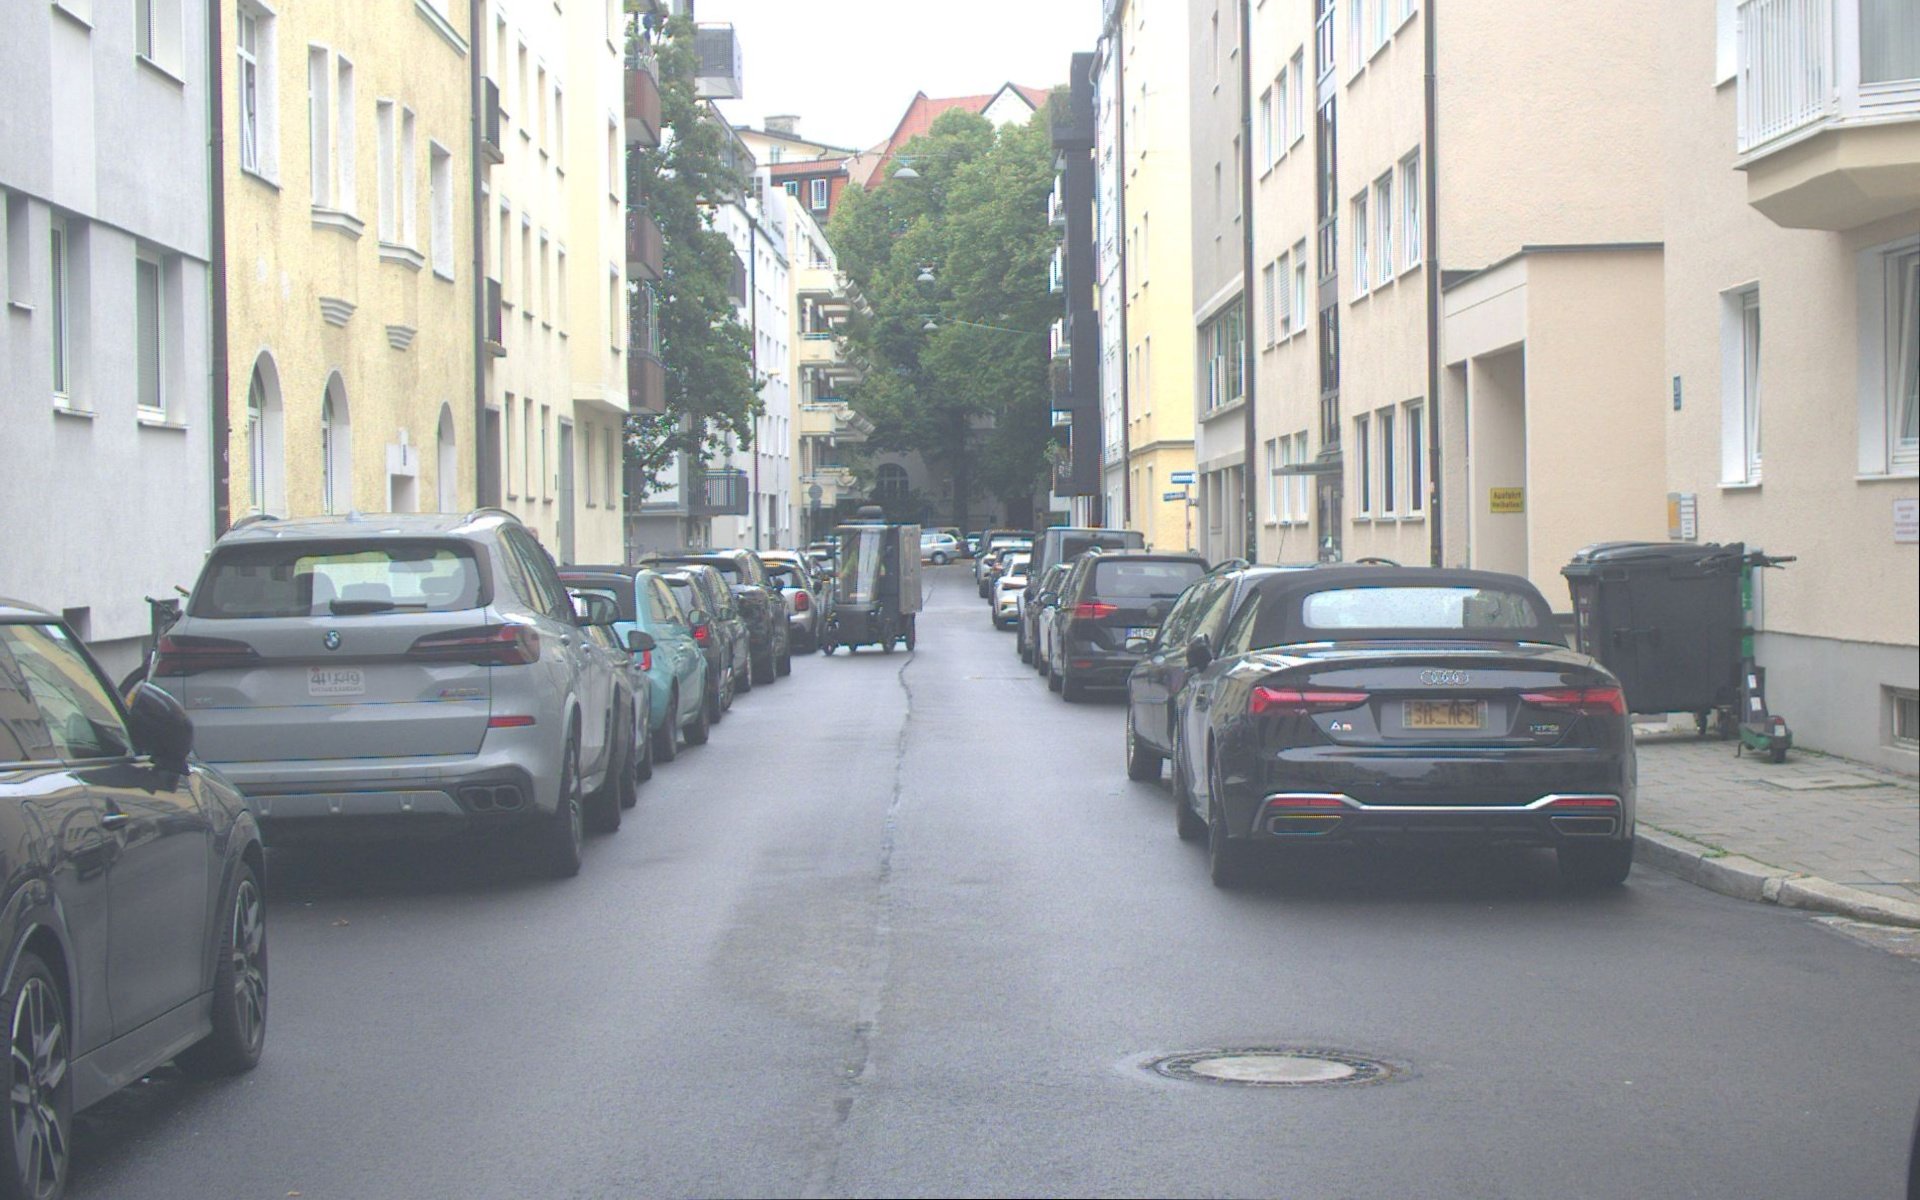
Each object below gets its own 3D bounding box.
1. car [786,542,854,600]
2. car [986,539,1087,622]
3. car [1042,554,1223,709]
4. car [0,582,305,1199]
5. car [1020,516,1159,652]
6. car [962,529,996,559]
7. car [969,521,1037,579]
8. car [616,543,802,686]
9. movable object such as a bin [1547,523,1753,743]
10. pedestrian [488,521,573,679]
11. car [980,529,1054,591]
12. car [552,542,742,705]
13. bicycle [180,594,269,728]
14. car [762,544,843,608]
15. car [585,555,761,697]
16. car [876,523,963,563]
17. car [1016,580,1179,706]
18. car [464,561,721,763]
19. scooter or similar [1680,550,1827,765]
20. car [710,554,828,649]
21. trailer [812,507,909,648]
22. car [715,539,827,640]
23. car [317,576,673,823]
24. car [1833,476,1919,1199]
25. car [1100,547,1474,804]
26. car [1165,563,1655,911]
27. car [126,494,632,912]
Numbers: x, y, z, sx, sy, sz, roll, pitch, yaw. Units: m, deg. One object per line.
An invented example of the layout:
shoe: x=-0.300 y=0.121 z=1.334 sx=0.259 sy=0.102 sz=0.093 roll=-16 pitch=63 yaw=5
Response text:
car: x=-3.677 y=-0.782 z=90.799 sx=1.693 sy=1.437 sz=3.978 roll=-2 pitch=1 yaw=-1
car: x=1.483 y=-0.401 z=67.983 sx=1.819 sy=1.403 sz=3.953 roll=0 pitch=4 yaw=-1
car: x=1.848 y=0.307 z=37.939 sx=1.711 sy=1.602 sz=4.244 roll=1 pitch=1 yaw=-1
car: x=-2.839 y=0.704 z=8.693 sx=1.652 sy=1.406 sz=3.735 roll=-3 pitch=0 yaw=-1
car: x=1.960 y=-0.288 z=53.274 sx=1.750 sy=1.968 sz=4.343 roll=2 pitch=1 yaw=-2
car: x=0.958 y=-2.867 z=175.475 sx=1.642 sy=1.379 sz=3.746 roll=-3 pitch=1 yaw=0
car: x=1.198 y=-1.437 z=98.086 sx=1.682 sy=1.562 sz=4.416 roll=2 pitch=1 yaw=-2
car: x=-3.079 y=0.141 z=43.007 sx=1.879 sy=1.654 sz=4.415 roll=-1 pitch=1 yaw=1
movable object such as a bin: x=4.734 y=0.214 z=23.698 sx=1.032 sy=1.418 sz=1.587 roll=-3 pitch=0 yaw=0
pedestrian: x=-4.834 y=-0.004 z=38.755 sx=0.839 sy=1.758 sz=1.068 roll=0 pitch=1 yaw=-1
car: x=1.438 y=-1.048 z=88.216 sx=1.751 sy=1.464 sz=4.343 roll=2 pitch=1 yaw=-1
car: x=-2.990 y=0.190 z=33.411 sx=1.563 sy=1.455 sz=3.764 roll=-1 pitch=1 yaw=-2
bicycle: x=-5.876 y=0.473 z=27.516 sx=0.395 sy=1.027 sz=1.570 roll=0 pitch=0 yaw=-1
car: x=-3.783 y=-0.595 z=82.865 sx=1.693 sy=1.437 sz=3.942 roll=-2 pitch=1 yaw=1
car: x=-3.148 y=0.255 z=38.215 sx=1.563 sy=1.455 sz=3.475 roll=-1 pitch=1 yaw=1
car: x=-1.856 y=-2.628 z=158.278 sx=3.885 sy=1.579 sz=1.648 roll=-3 pitch=1 yaw=-1
car: x=1.685 y=0.504 z=43.438 sx=1.711 sy=1.481 sz=4.245 roll=0 pitch=1 yaw=-2
car: x=-2.861 y=0.442 z=27.356 sx=1.563 sy=1.455 sz=3.404 roll=-1 pitch=1 yaw=1
scooter or similar: x=4.865 y=0.339 z=21.134 sx=0.576 sy=1.262 sz=1.136 roll=-2 pitch=0 yaw=-1
car: x=-3.038 y=-0.004 z=55.345 sx=1.652 sy=1.431 sz=3.803 roll=-1 pitch=1 yaw=0
trailer: x=-1.527 y=-0.350 z=53.606 sx=1.355 sy=2.108 sz=3.318 roll=-1 pitch=0 yaw=0
car: x=-3.295 y=-0.211 z=60.680 sx=1.766 sy=1.669 sz=4.368 roll=-1 pitch=1 yaw=-1
car: x=-2.942 y=0.575 z=22.564 sx=1.811 sy=1.381 sz=4.251 roll=-3 pitch=1 yaw=-2
car: x=2.247 y=0.663 z=2.916 sx=1.832 sy=1.616 sz=4.411 roll=1 pitch=1 yaw=-1
car: x=1.979 y=0.415 z=22.063 sx=1.716 sy=1.466 sz=4.532 roll=0 pitch=1 yaw=-3
car: x=1.966 y=0.539 z=16.228 sx=1.833 sy=1.401 sz=4.411 roll=1 pitch=1 yaw=2
car: x=-2.794 y=0.430 z=17.586 sx=1.862 sy=1.764 sz=4.736 roll=-3 pitch=1 yaw=-2
